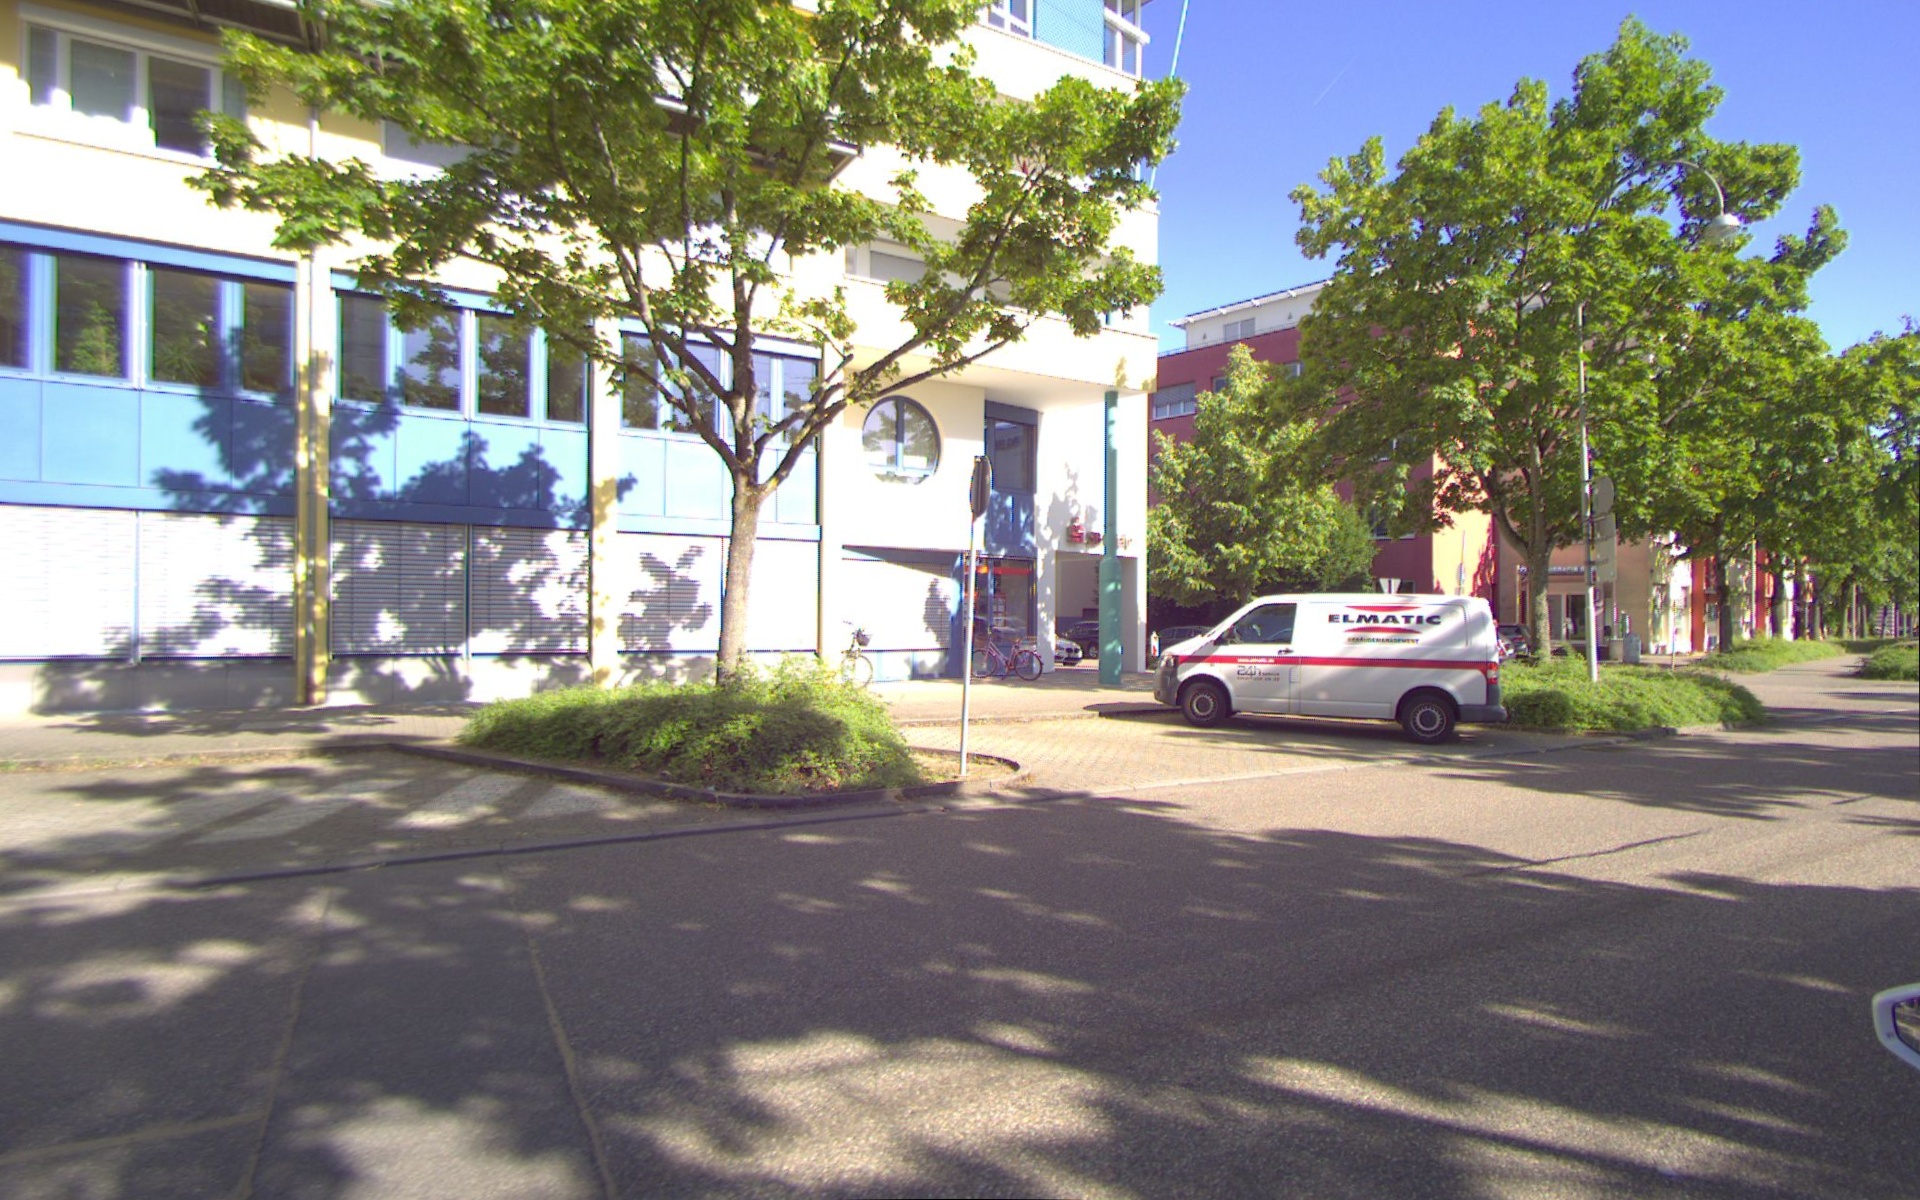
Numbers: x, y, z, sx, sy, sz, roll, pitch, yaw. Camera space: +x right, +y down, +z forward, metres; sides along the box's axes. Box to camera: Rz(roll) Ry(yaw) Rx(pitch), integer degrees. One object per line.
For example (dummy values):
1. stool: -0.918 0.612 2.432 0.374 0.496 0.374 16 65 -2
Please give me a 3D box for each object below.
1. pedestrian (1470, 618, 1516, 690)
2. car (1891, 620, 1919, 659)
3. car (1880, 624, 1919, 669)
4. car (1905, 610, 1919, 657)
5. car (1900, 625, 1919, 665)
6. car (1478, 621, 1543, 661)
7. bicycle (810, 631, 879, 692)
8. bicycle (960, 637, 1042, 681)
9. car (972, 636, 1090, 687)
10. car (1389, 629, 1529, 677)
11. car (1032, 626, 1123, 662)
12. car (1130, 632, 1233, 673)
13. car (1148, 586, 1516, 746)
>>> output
1. pedestrian: 13.265 1.344 24.997 1.013 1.748 0.651 1 -2 -39
2. car: 37.720 1.548 37.728 1.726 1.442 3.856 1 0 -42
3. car: 32.615 1.564 32.310 1.724 1.442 4.229 1 0 -38
4. car: 39.516 1.362 39.081 1.772 1.835 3.856 1 0 -42
5. car: 36.025 1.663 35.550 1.726 1.442 3.856 1 0 -42
6. car: 21.503 1.573 39.143 1.711 1.462 4.117 -2 -2 36
7. bicycle: -2.229 1.155 19.208 0.693 1.112 1.790 1 -2 -29
8. bicycle: 0.902 1.290 22.278 1.770 0.883 0.491 1 0 25
9. car: 2.583 2.231 37.335 1.985 1.615 4.196 0 0 -42
10. car: 17.103 1.777 34.558 1.790 1.466 3.946 -2 0 -42
11. car: 5.504 2.025 47.359 1.922 1.524 3.958 -2 0 -42
12. car: 9.433 2.213 42.961 1.922 1.524 3.958 -2 0 -42
13. car: 5.281 0.830 14.594 4.679 2.012 1.999 1 0 24
